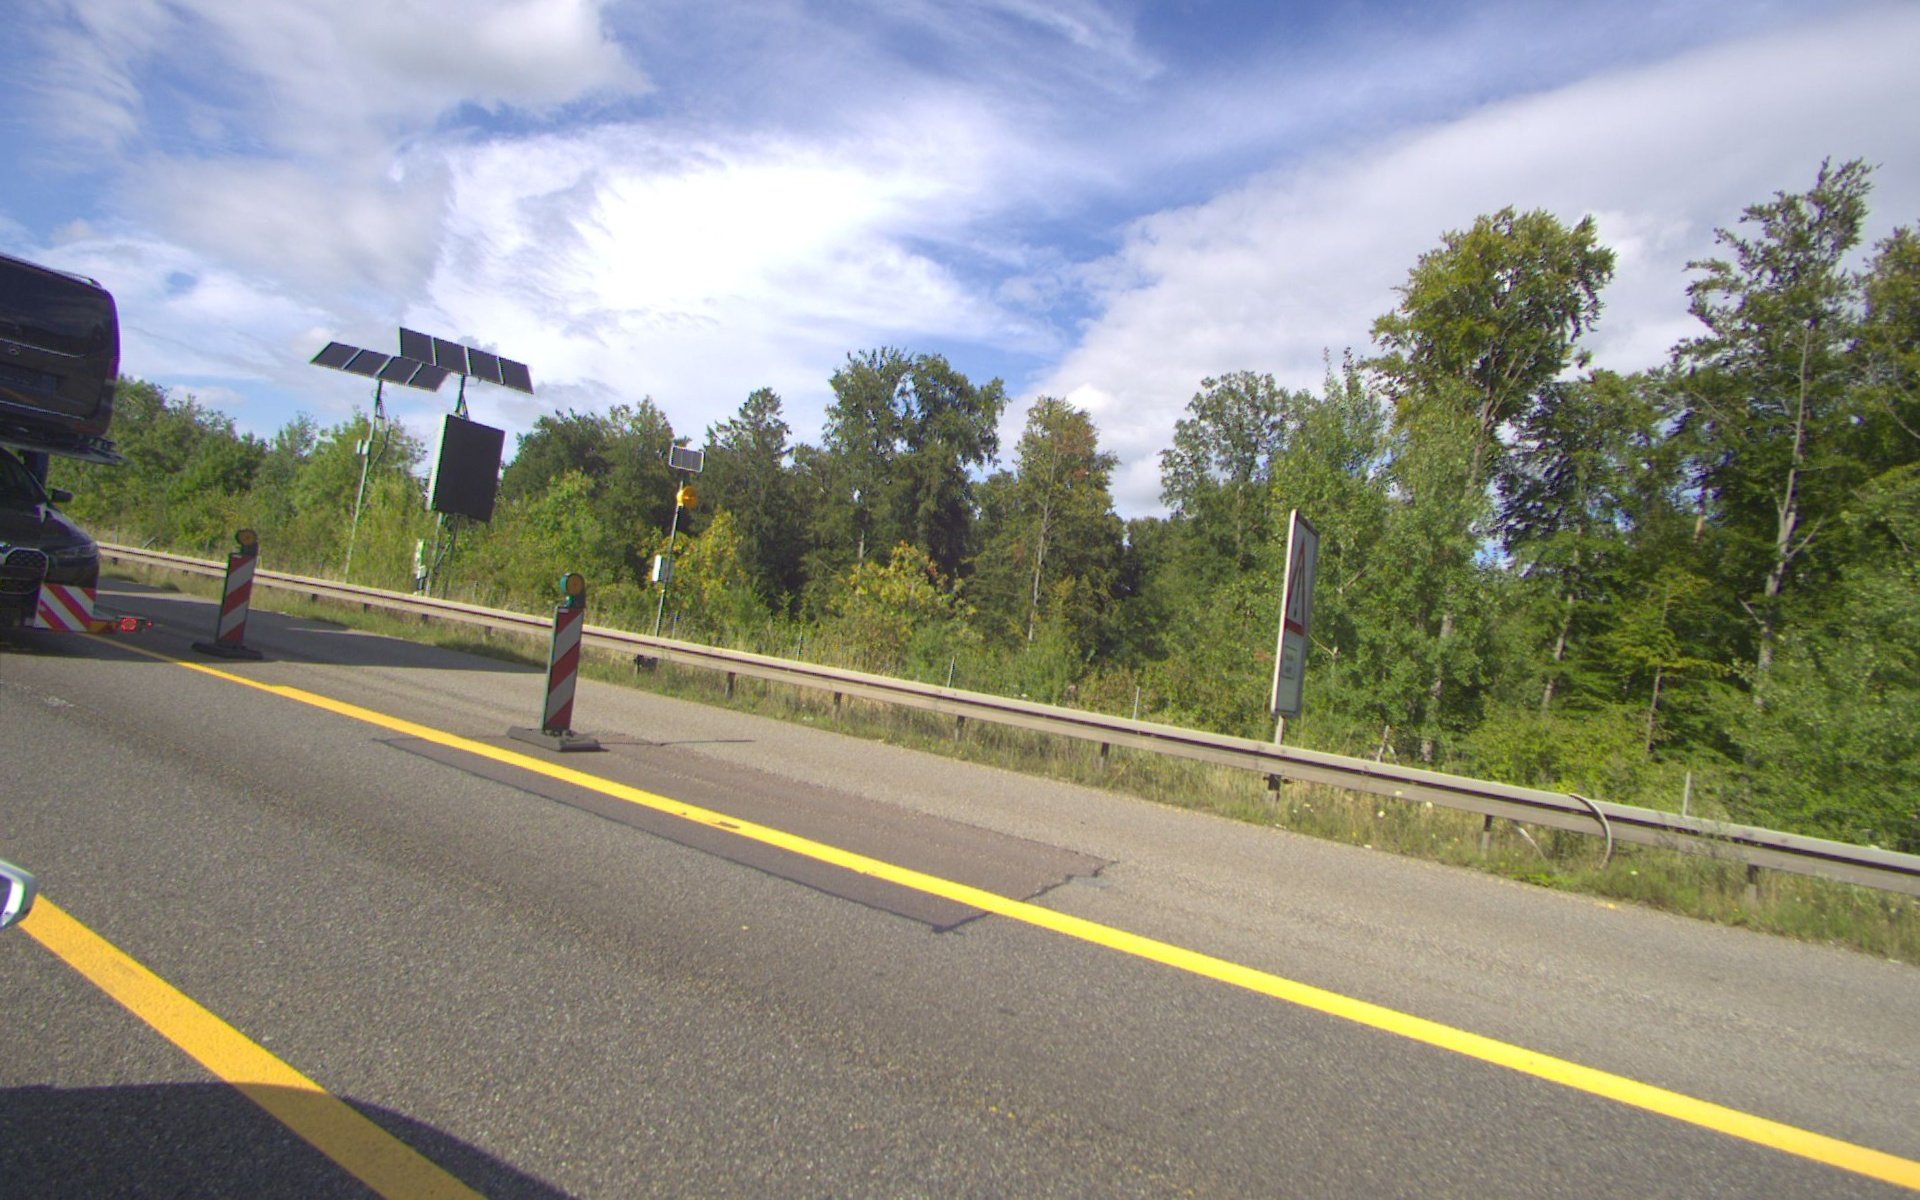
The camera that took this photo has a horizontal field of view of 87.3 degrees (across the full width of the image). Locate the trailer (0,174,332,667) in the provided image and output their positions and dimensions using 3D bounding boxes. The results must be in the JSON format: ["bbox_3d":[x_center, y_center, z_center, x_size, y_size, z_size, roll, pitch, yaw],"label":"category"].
[{"bbox_3d":[-14.995,-2.308,13.779,15.956,4.245,3.734,6,-2,31],"label":"trailer"}]
